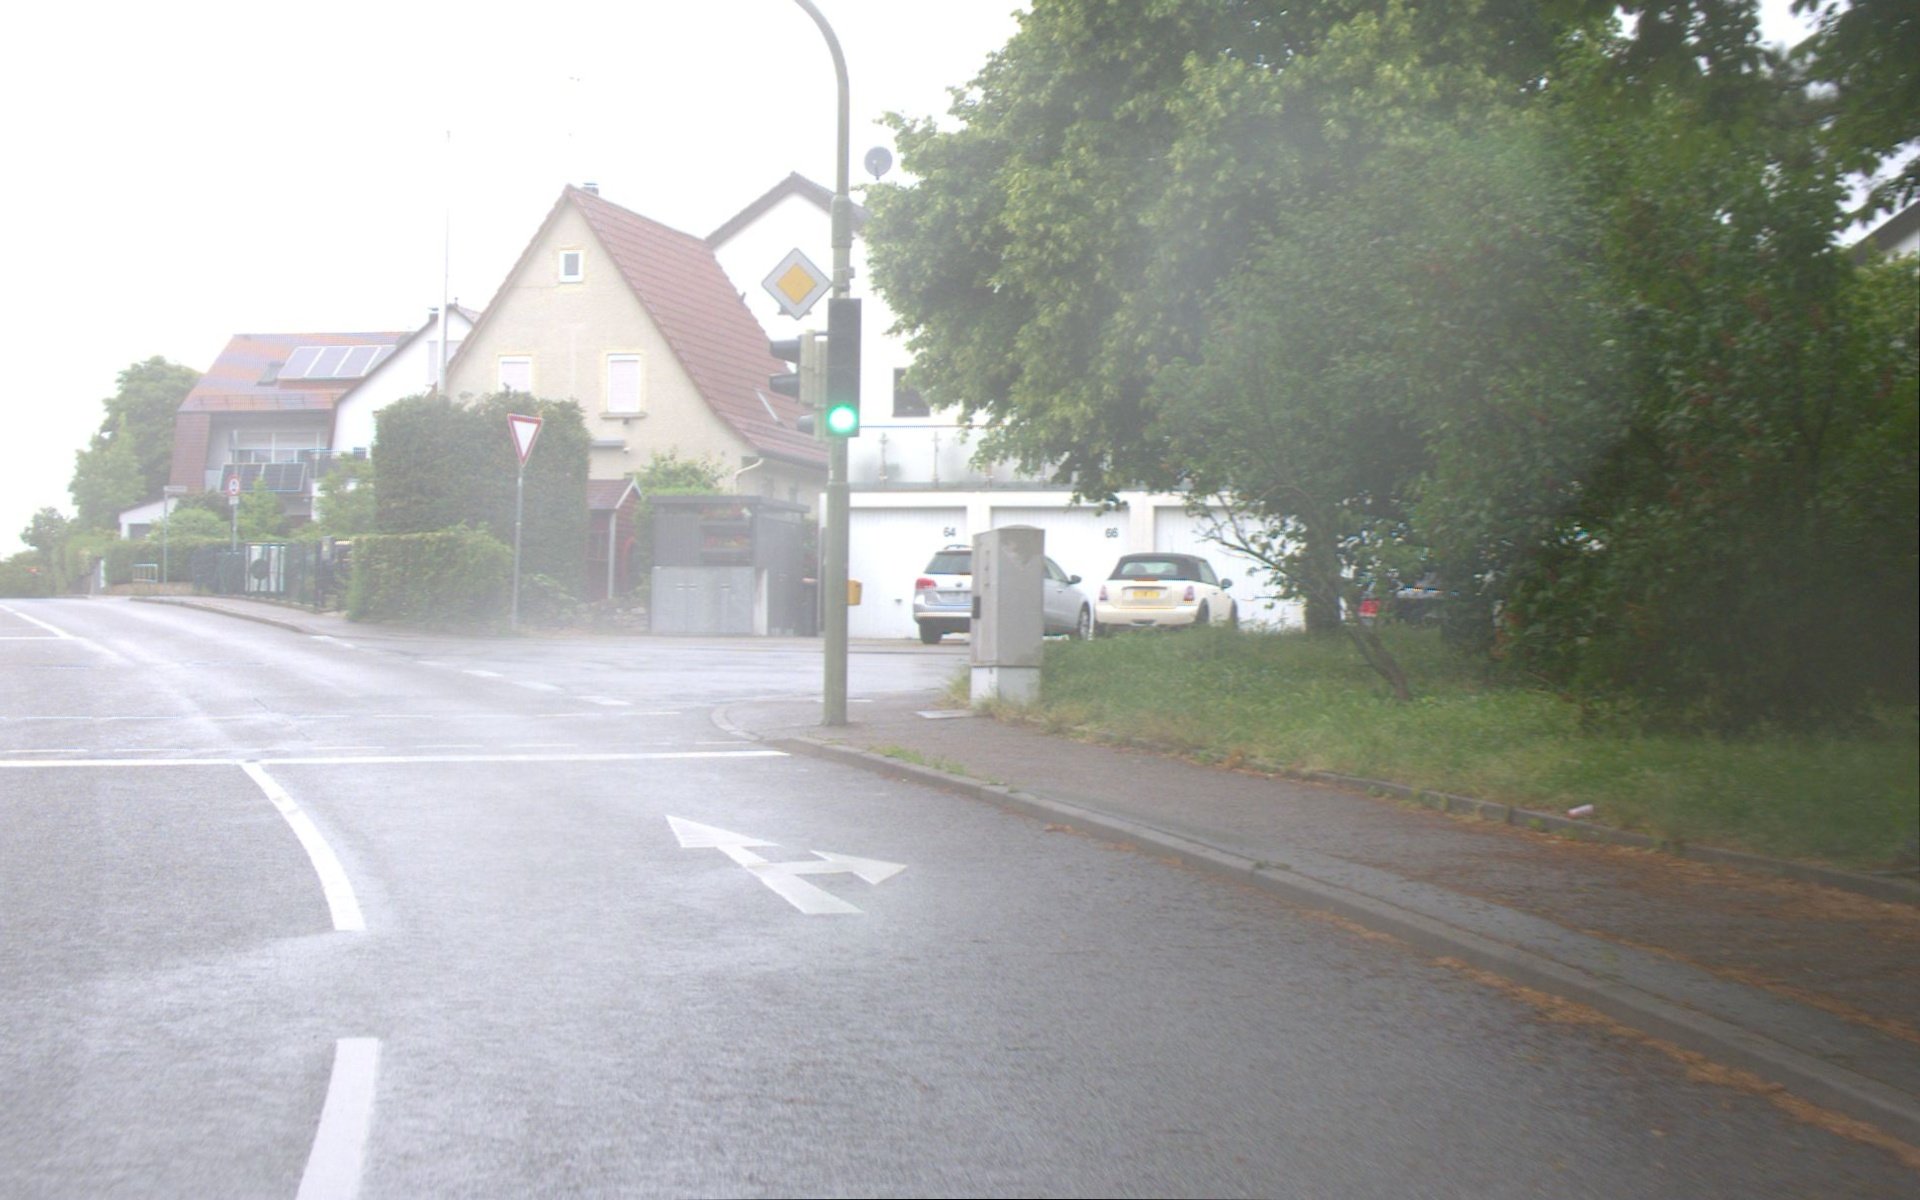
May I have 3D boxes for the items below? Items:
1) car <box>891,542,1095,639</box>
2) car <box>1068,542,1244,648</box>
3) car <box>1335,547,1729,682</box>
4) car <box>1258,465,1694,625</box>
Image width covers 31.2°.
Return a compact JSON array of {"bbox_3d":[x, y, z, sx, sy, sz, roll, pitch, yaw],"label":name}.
[{"bbox_3d":[0.558,-0.168,53.090,1.995,1.393,4.147,0,1,18],"label":"car"},{"bbox_3d":[3.033,-0.103,52.468,1.995,1.525,3.998,0,1,13],"label":"car"},{"bbox_3d":[6.555,0.152,39.721,4.174,1.437,1.833,1,1,-2],"label":"car"},{"bbox_3d":[4.863,-0.520,32.775,3.988,1.450,1.854,0,1,6],"label":"car"}]
